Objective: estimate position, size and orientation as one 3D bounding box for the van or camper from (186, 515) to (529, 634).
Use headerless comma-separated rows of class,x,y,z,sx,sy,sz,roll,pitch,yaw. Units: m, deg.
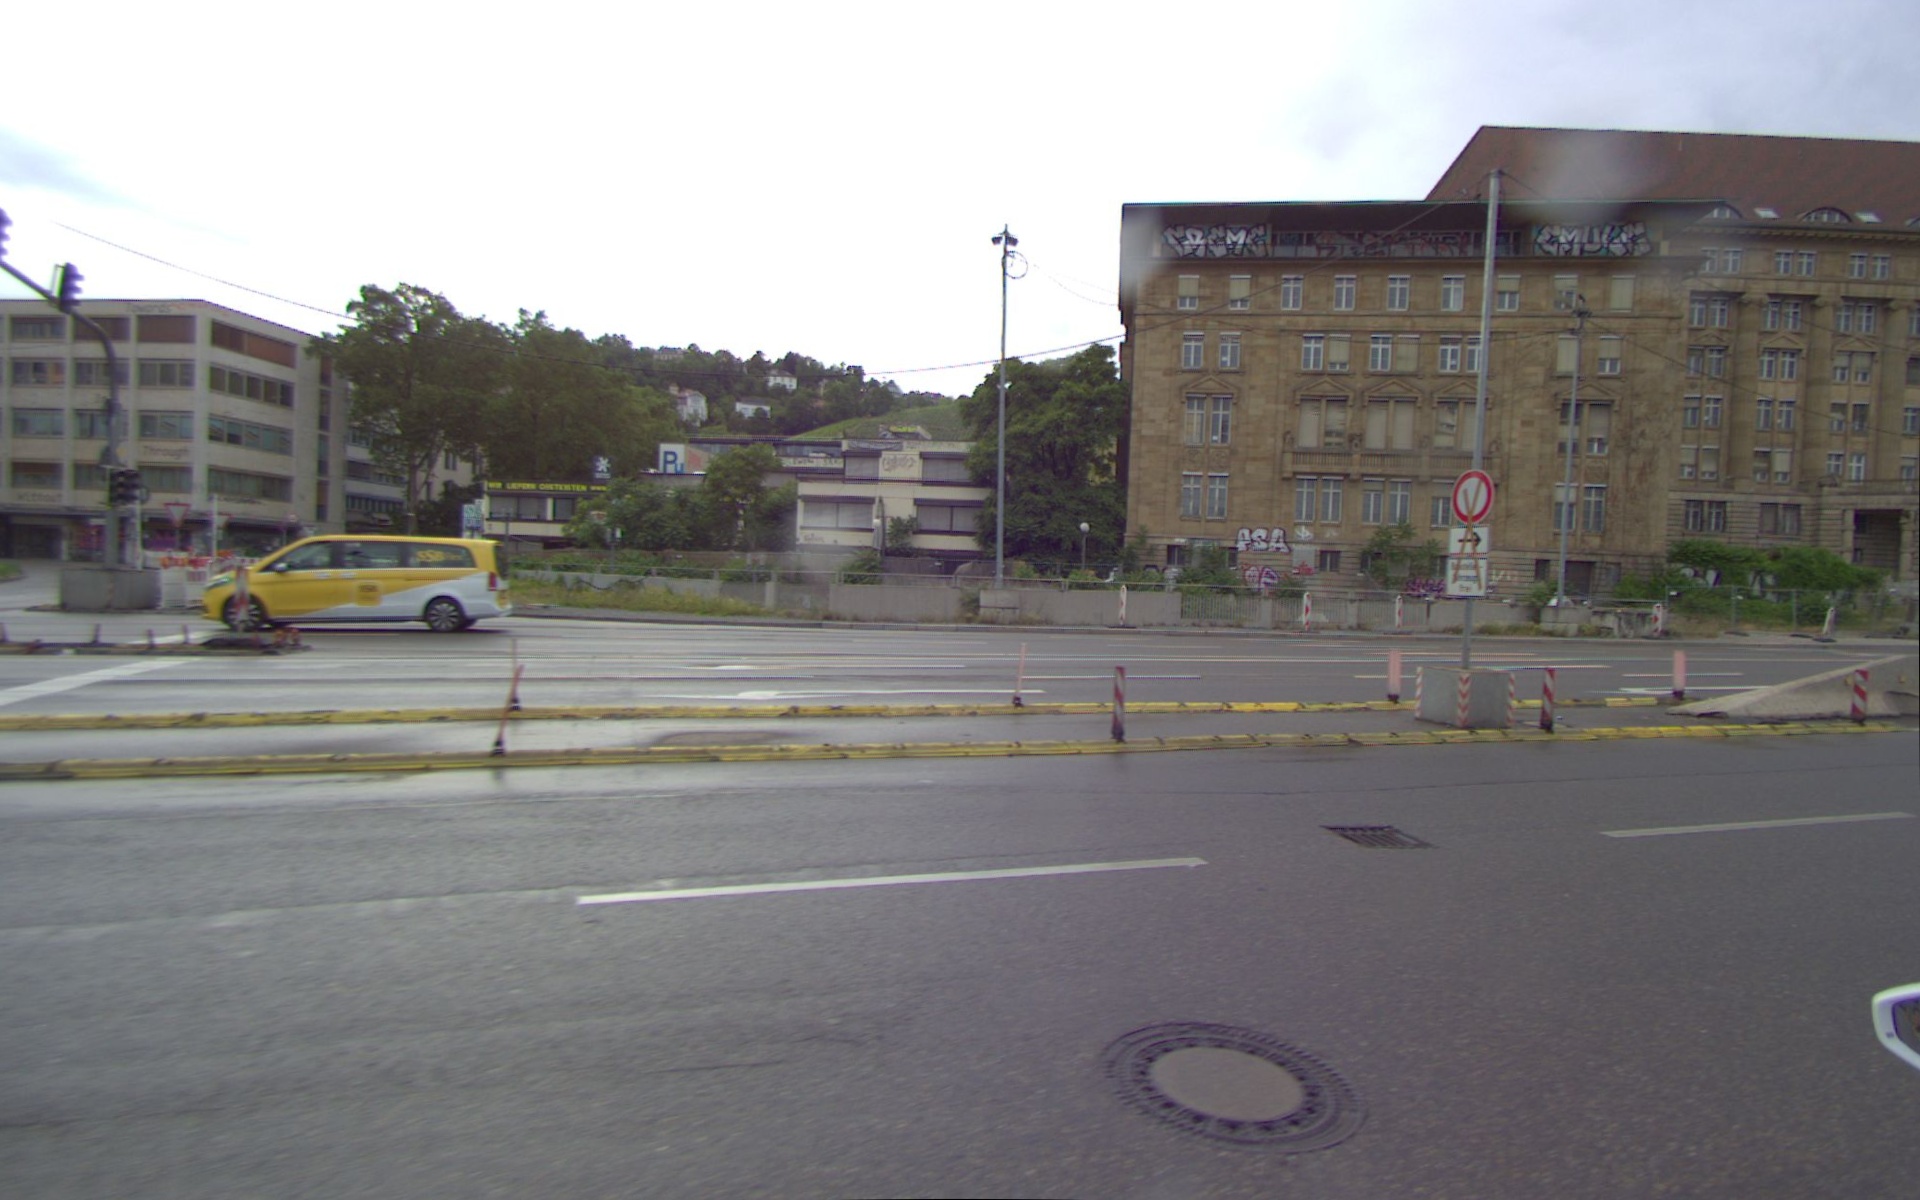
van or camper,-11.888,-0.485,20.337,5.517,2.082,2.238,2,2,-17
